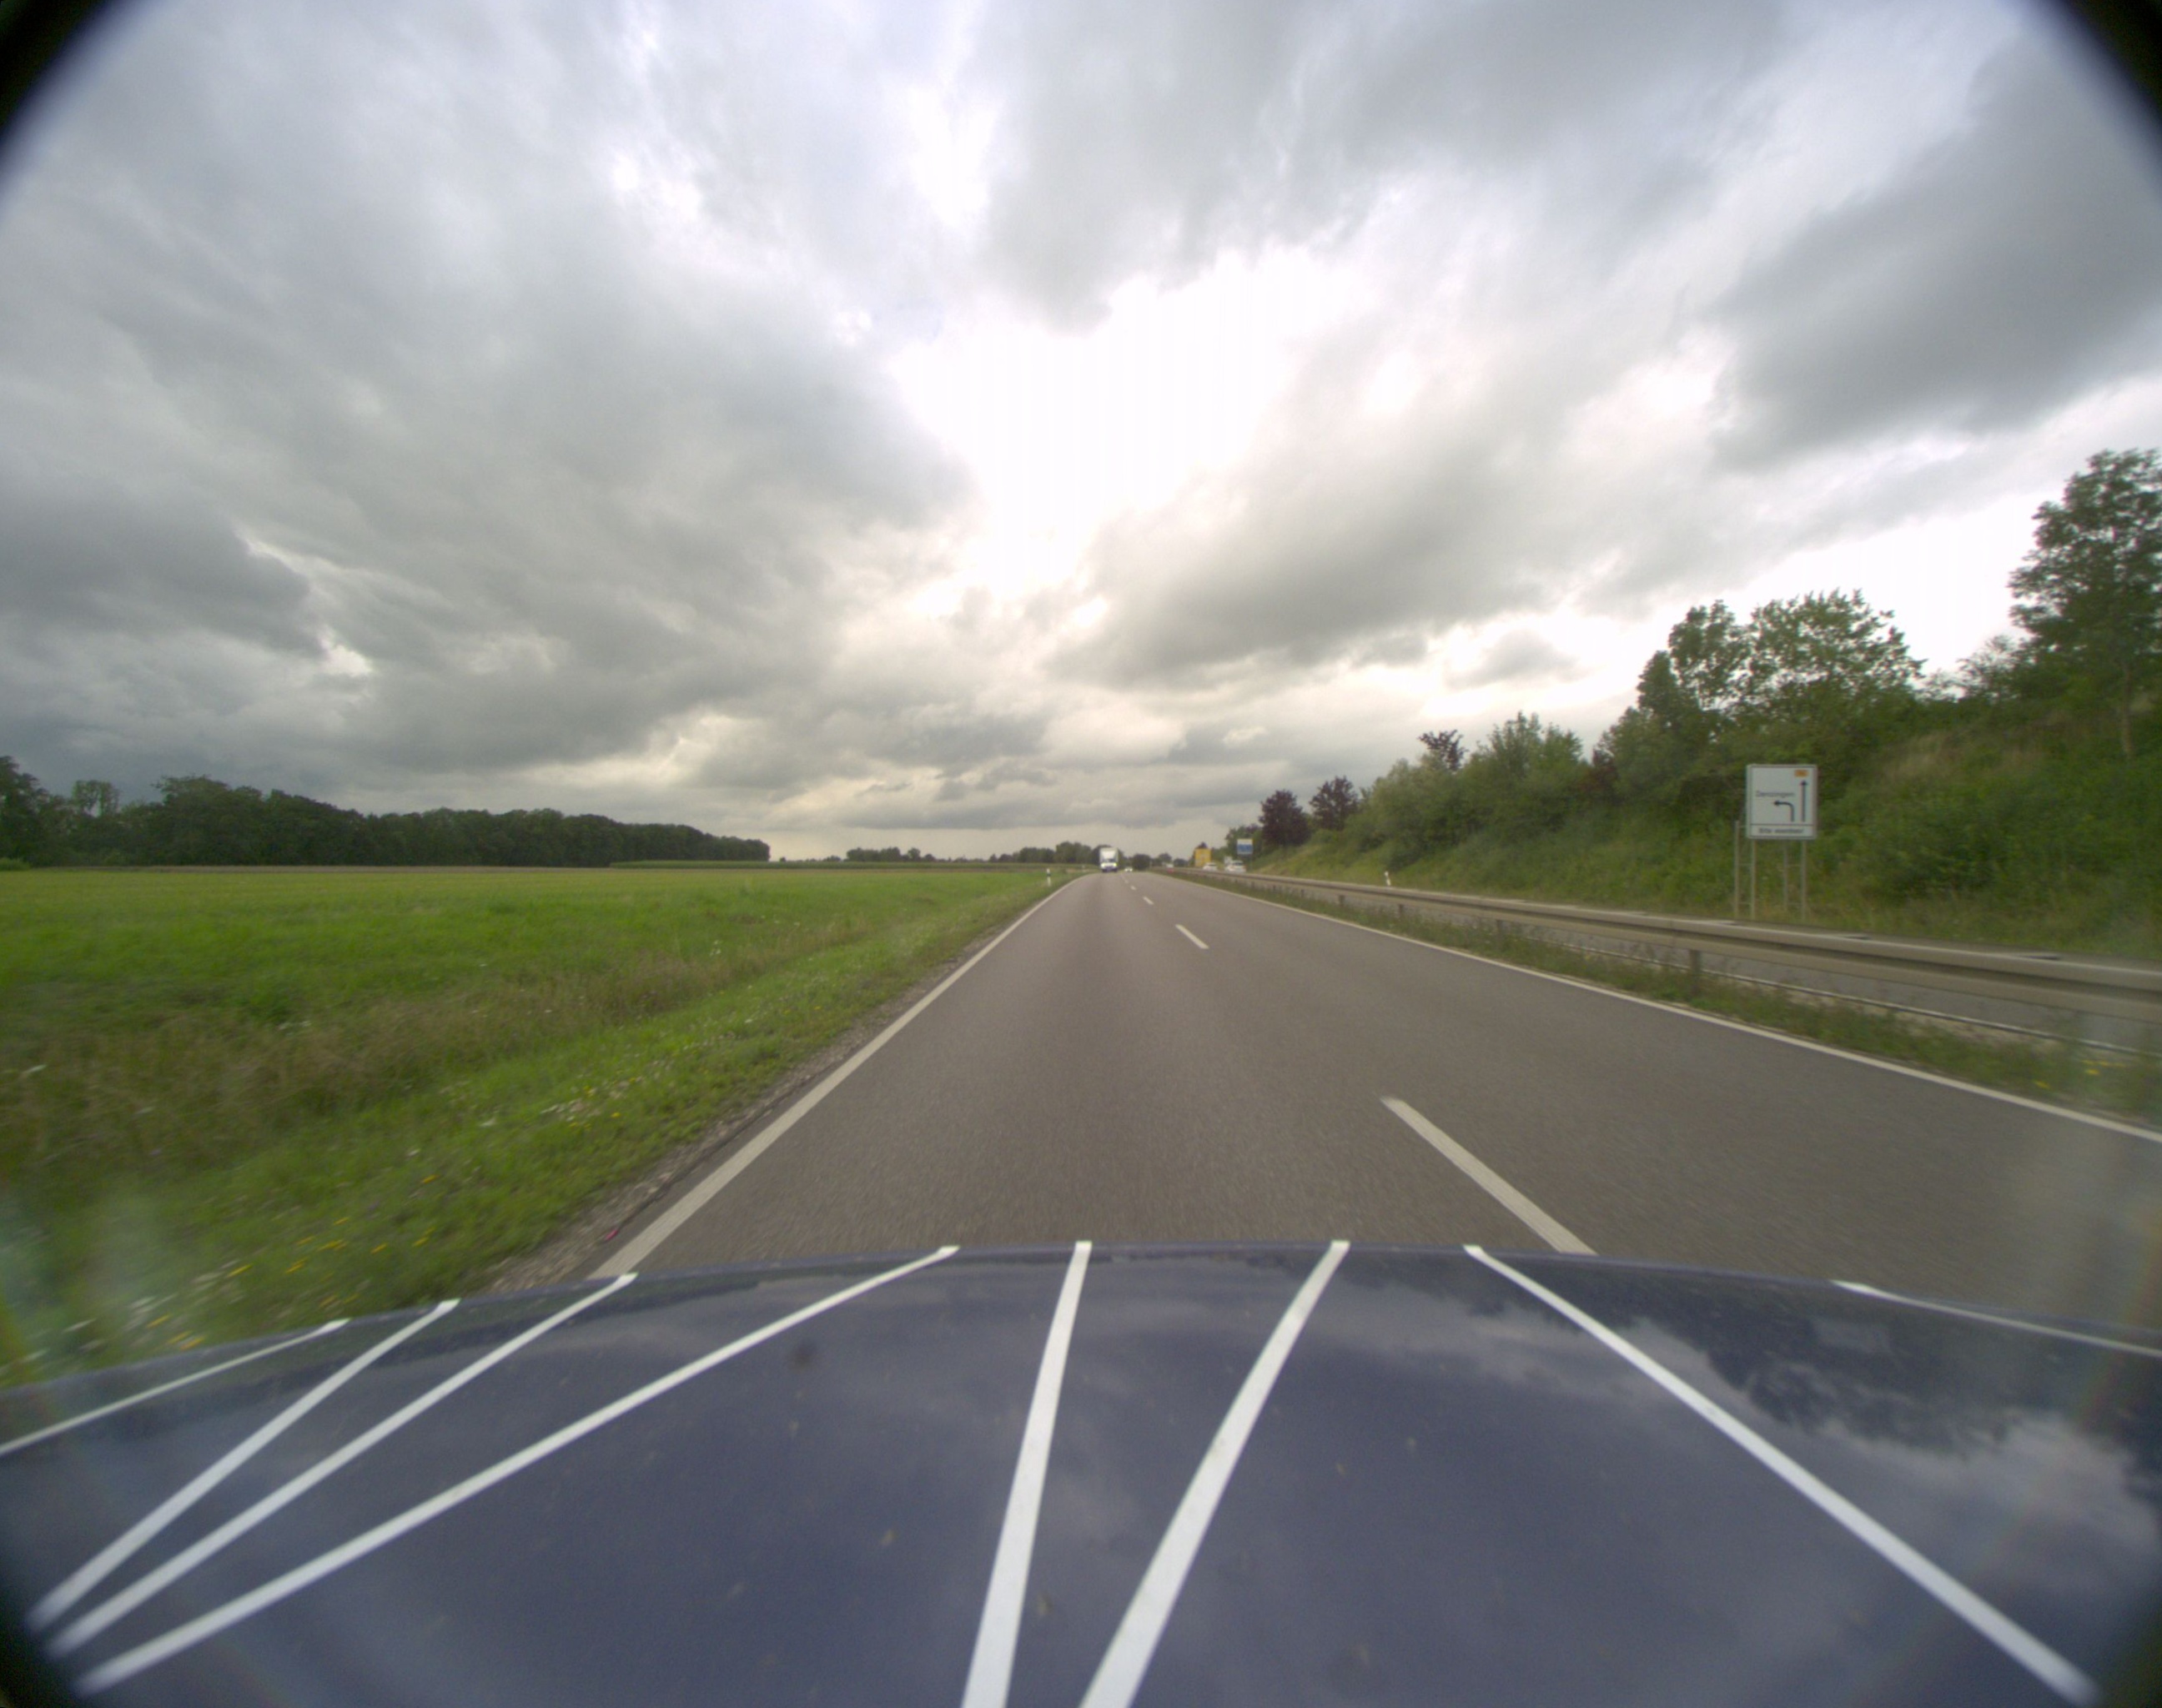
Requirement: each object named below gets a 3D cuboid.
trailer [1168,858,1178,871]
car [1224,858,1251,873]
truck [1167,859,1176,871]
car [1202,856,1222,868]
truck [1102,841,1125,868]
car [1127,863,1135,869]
[{"bbox_3d":[29.943,3.470,248.310,2.781,3.922,12.994,0,-2,5],"label":"trailer"},{"bbox_3d":[16.243,1.234,79.114,1.925,1.508,4.465,0,-2,1],"label":"car"},{"bbox_3d":[30.548,3.685,255.395,2.808,3.972,5.290,0,-2,5],"label":"truck"},{"bbox_3d":[17.524,1.084,102.024,1.998,1.508,4.990,0,-2,2],"label":"car"},{"bbox_3d":[4.897,0.148,111.956,2.933,3.651,8.449,0,-2,6],"label":"truck"},{"bbox_3d":[13.625,3.164,205.674,2.090,1.509,4.196,0,-2,6],"label":"car"}]
